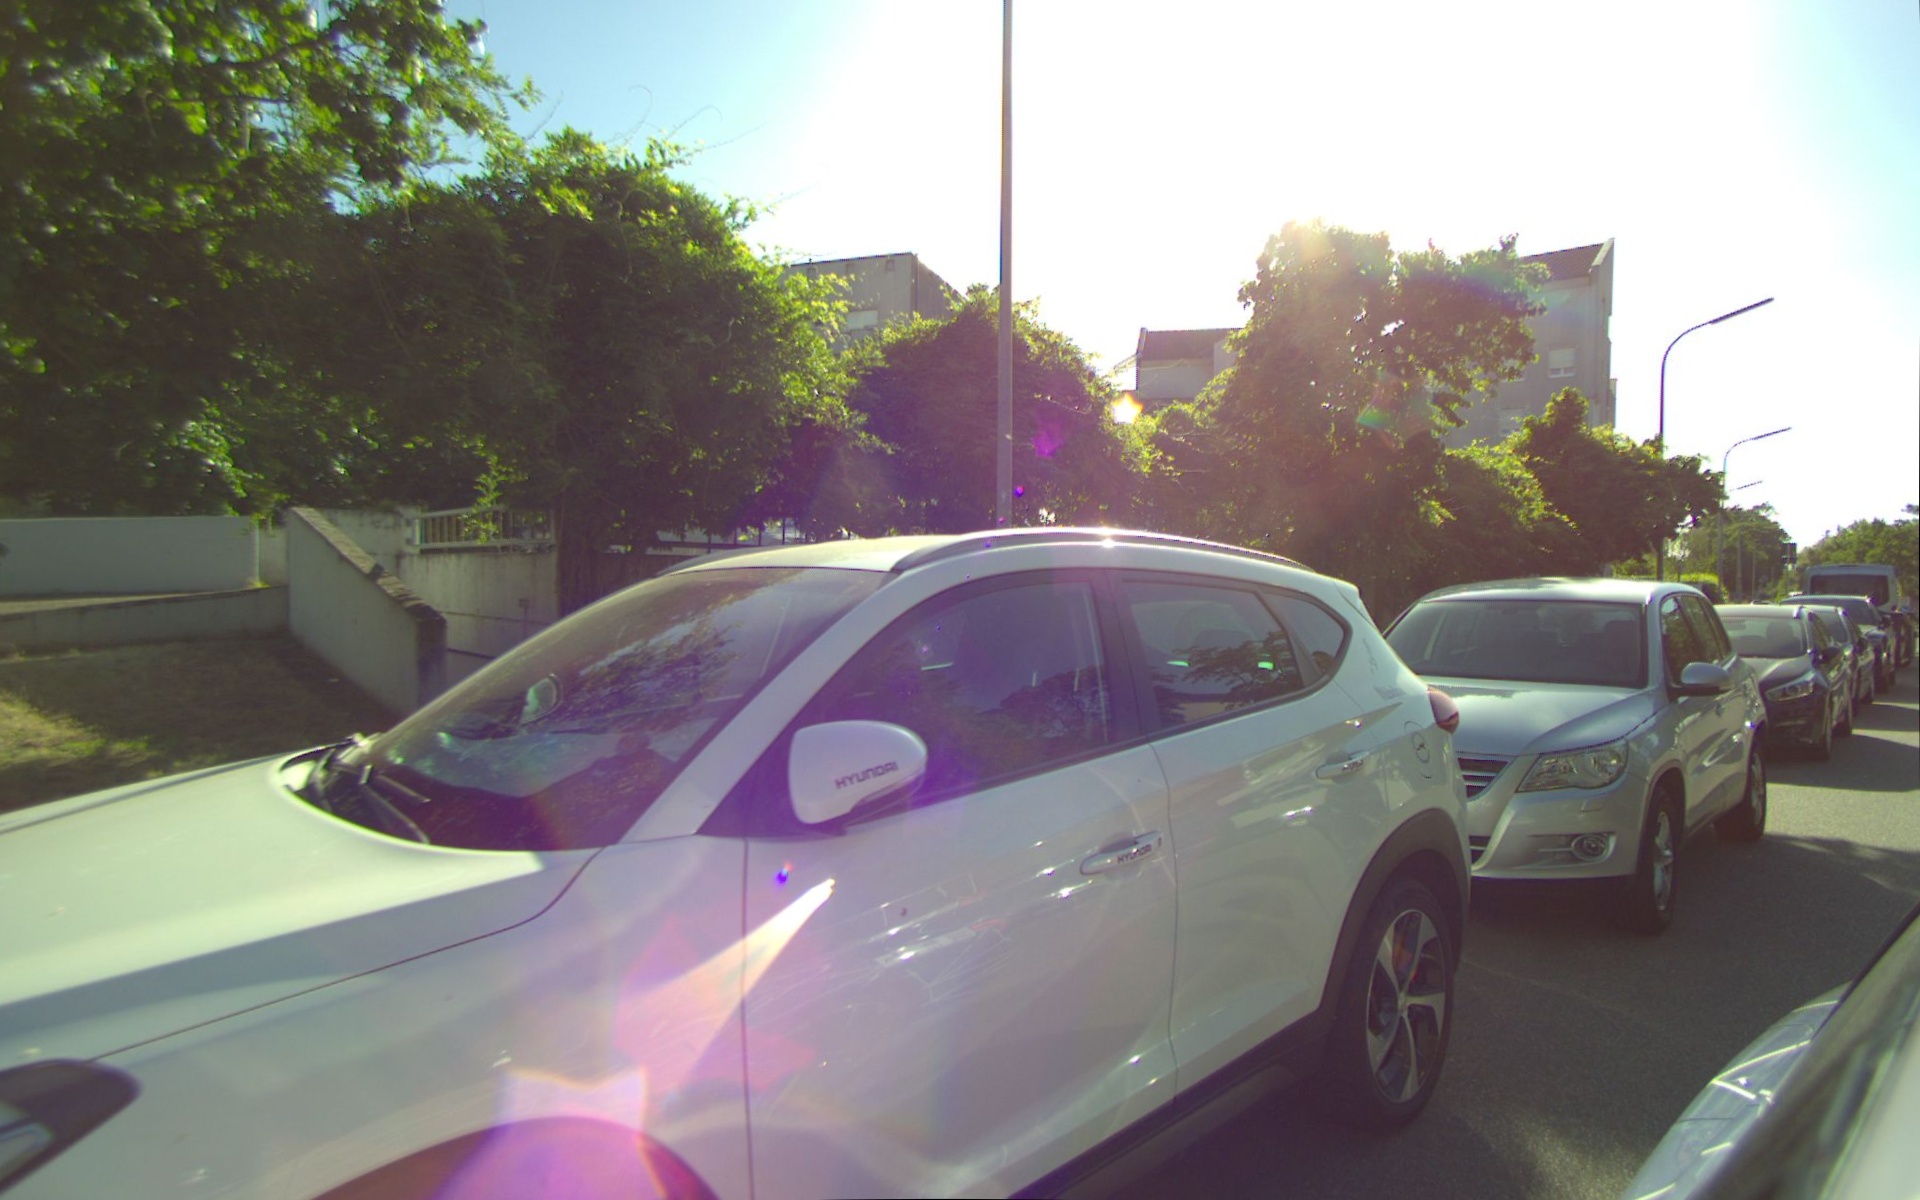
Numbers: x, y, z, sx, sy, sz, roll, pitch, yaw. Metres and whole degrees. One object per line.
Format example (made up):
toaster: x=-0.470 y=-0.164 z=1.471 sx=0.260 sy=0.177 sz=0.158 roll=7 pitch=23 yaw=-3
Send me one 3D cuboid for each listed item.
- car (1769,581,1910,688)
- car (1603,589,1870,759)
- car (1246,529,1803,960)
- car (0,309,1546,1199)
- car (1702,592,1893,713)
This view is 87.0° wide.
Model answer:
car: x=15.970 y=0.530 z=18.312 sx=1.754 sy=1.716 sz=3.841 roll=1 pitch=1 yaw=43
car: x=8.619 y=0.650 z=11.085 sx=4.298 sy=1.498 sz=1.755 roll=0 pitch=-1 yaw=-45
car: x=3.528 y=0.544 z=5.989 sx=3.916 sy=1.707 sz=1.756 roll=0 pitch=1 yaw=-43
car: x=-0.193 y=0.580 z=2.611 sx=4.338 sy=1.695 sz=1.756 roll=0 pitch=1 yaw=-43
car: x=12.262 y=0.643 z=14.735 sx=3.838 sy=1.497 sz=1.755 roll=0 pitch=1 yaw=-44
